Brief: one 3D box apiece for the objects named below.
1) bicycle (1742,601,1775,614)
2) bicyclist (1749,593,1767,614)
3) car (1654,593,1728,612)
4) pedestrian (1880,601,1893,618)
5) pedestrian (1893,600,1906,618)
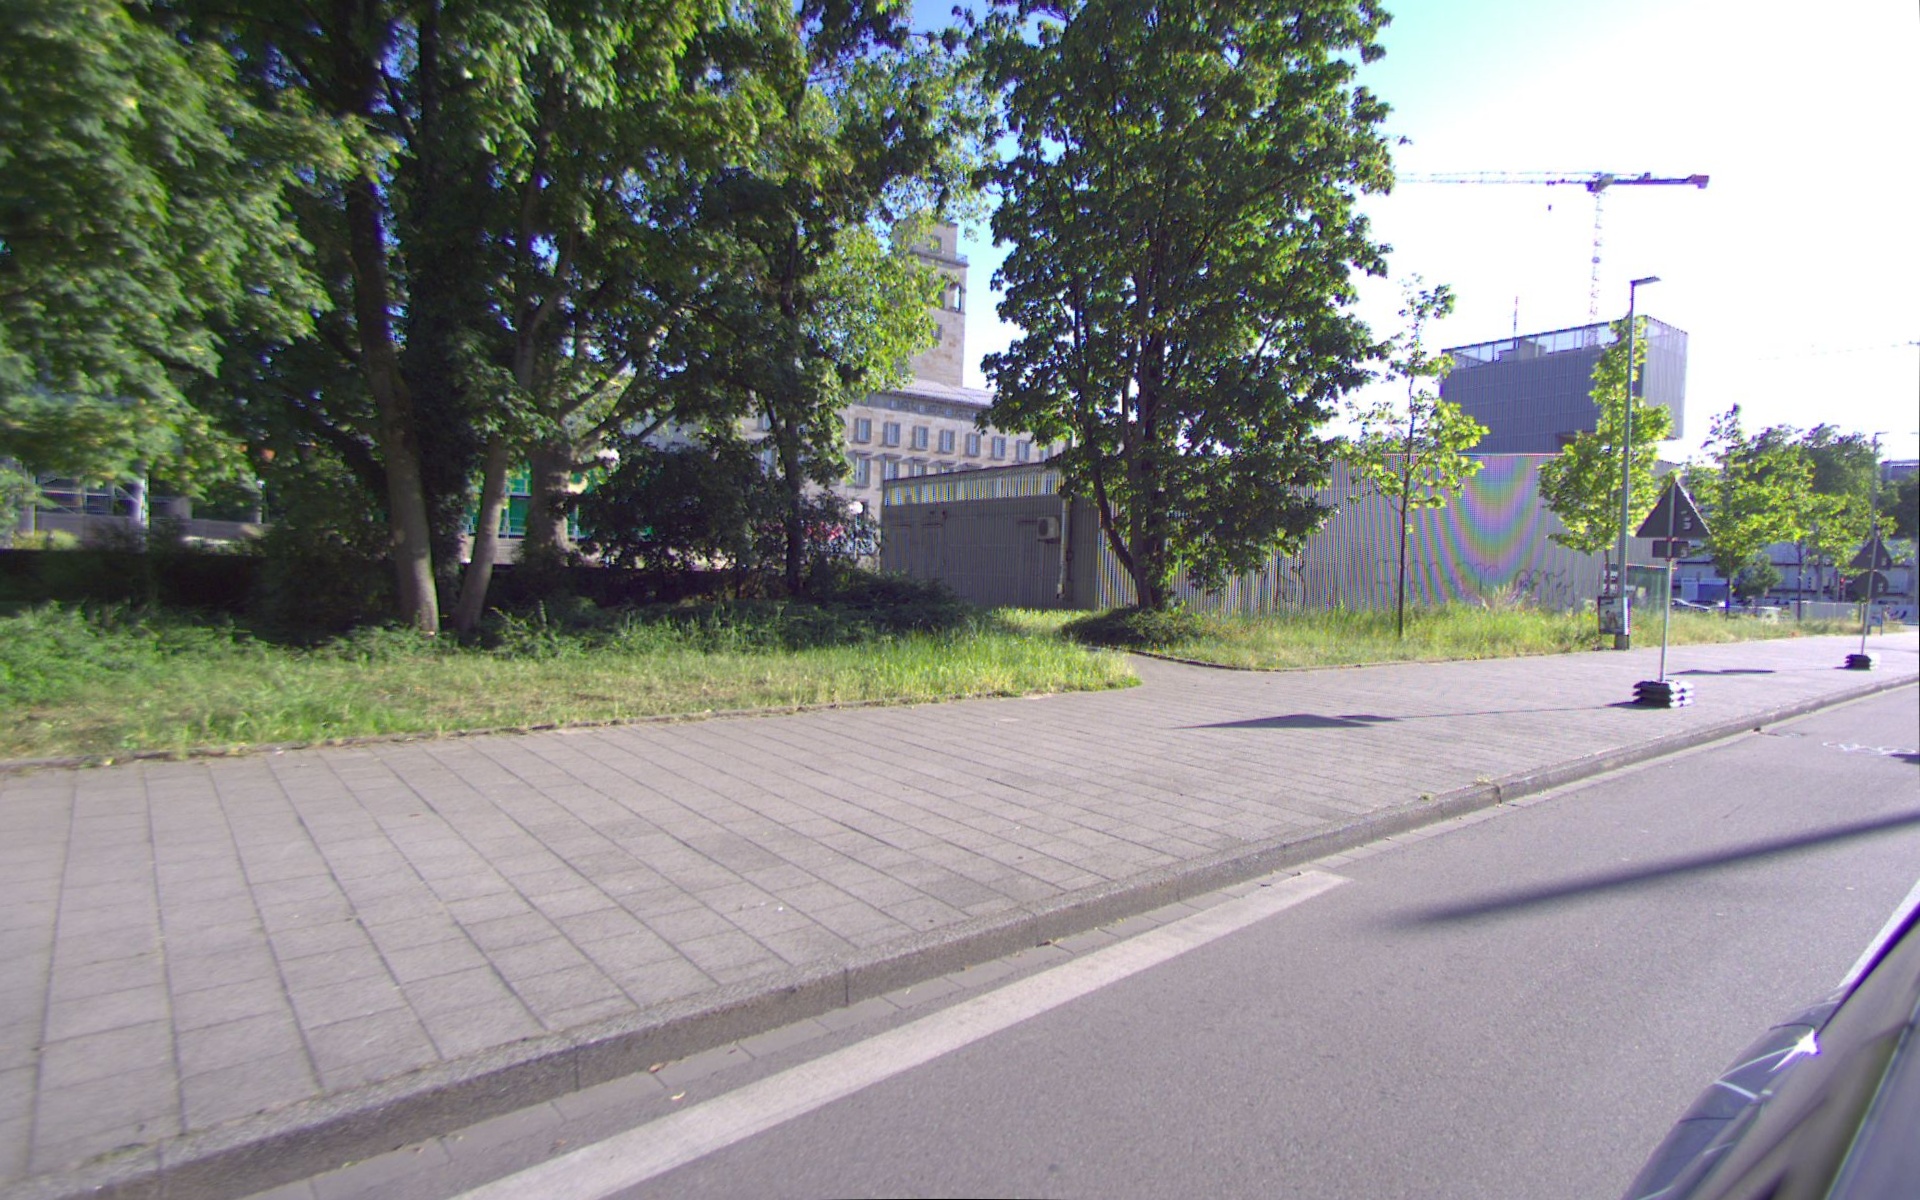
[{"bbox_3d":[60.916,0.589,77.236,0.614,0.920,1.906,0,2,-43],"label":"bicycle"},{"bbox_3d":[60.919,0.246,77.237,0.614,1.522,0.936,0,2,-43],"label":"bicyclist"},{"bbox_3d":[59.422,0.192,82.297,1.742,1.368,4.531,0,3,-32],"label":"car"},{"bbox_3d":[83.123,0.831,90.819,0.592,1.471,0.655,1,1,-33],"label":"pedestrian"},{"bbox_3d":[84.232,0.797,90.750,0.824,1.608,0.655,1,1,-33],"label":"pedestrian"}]
